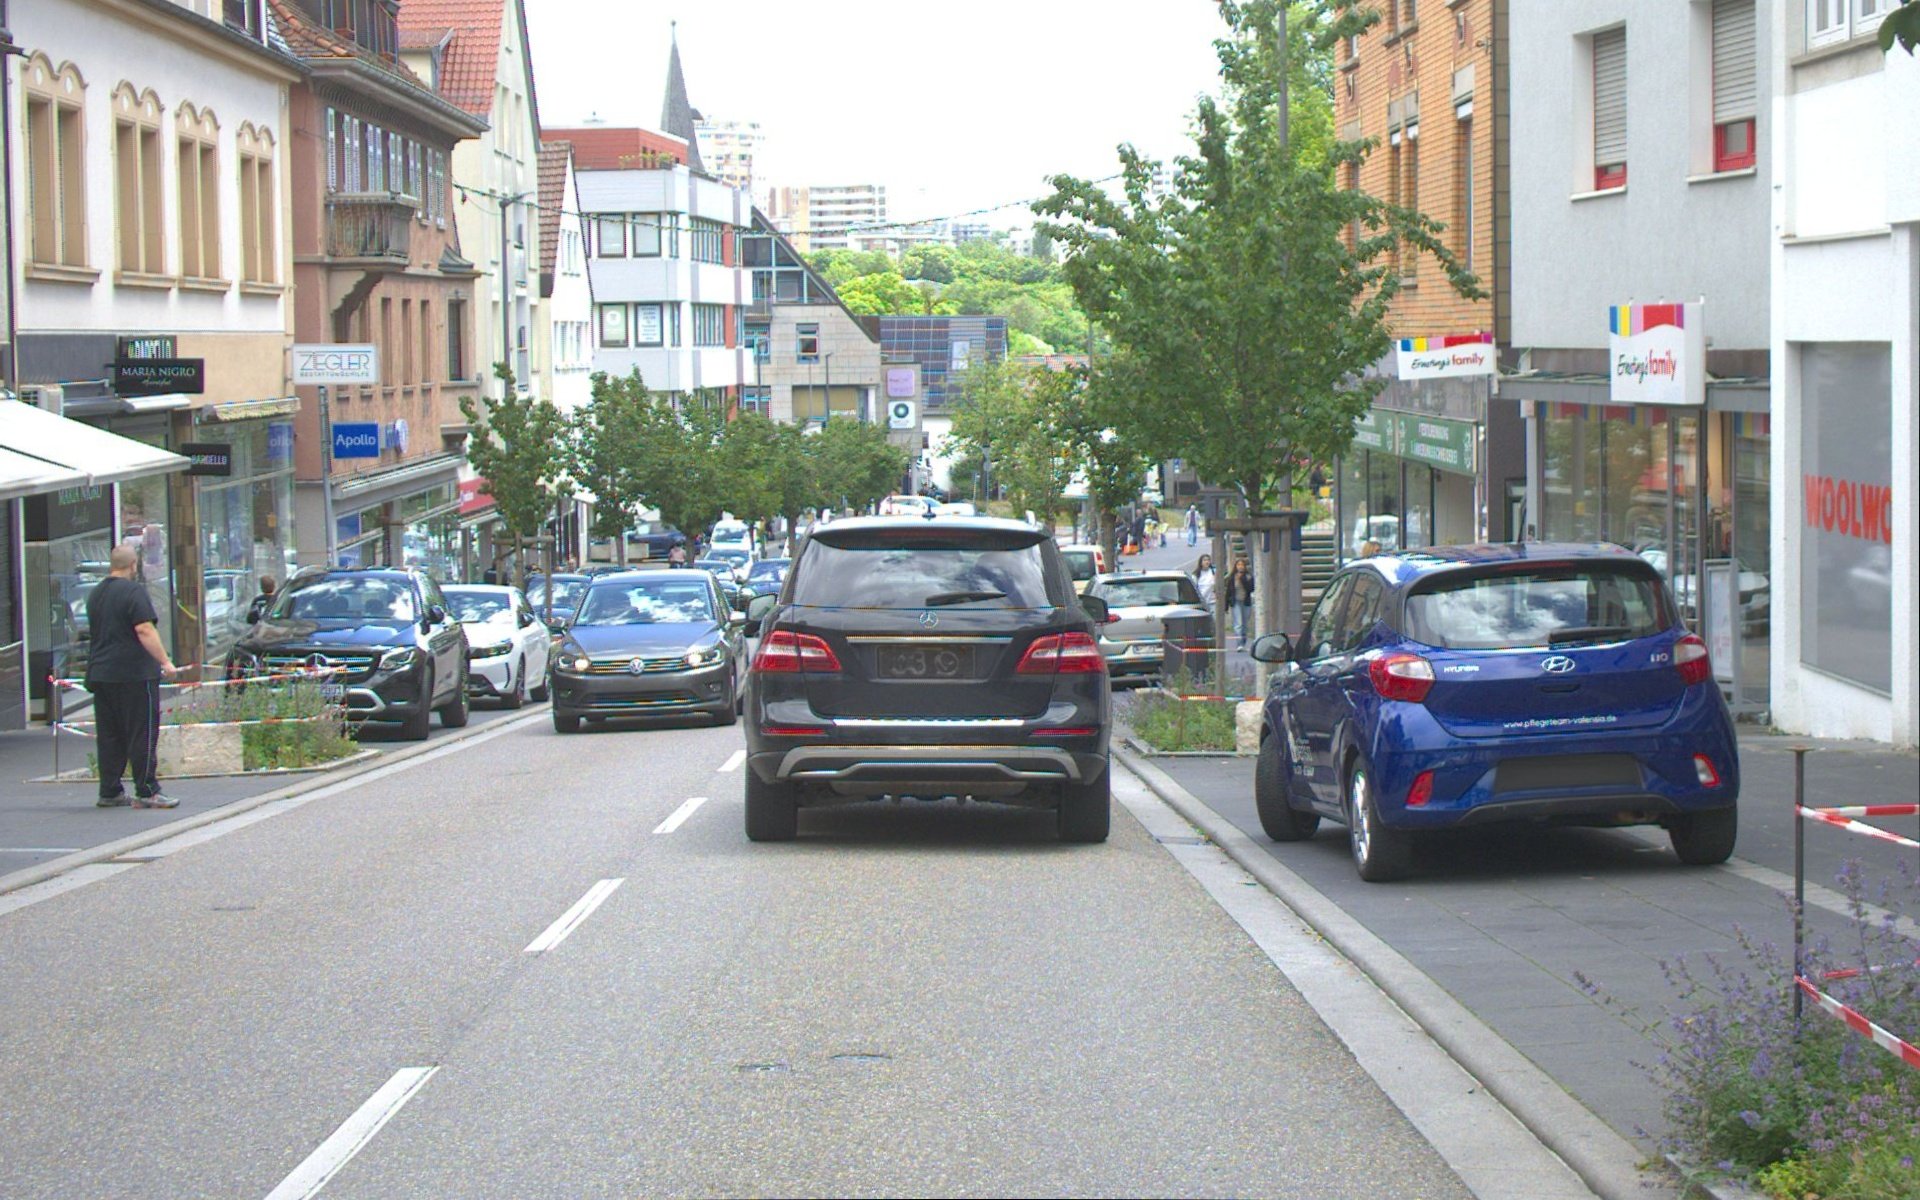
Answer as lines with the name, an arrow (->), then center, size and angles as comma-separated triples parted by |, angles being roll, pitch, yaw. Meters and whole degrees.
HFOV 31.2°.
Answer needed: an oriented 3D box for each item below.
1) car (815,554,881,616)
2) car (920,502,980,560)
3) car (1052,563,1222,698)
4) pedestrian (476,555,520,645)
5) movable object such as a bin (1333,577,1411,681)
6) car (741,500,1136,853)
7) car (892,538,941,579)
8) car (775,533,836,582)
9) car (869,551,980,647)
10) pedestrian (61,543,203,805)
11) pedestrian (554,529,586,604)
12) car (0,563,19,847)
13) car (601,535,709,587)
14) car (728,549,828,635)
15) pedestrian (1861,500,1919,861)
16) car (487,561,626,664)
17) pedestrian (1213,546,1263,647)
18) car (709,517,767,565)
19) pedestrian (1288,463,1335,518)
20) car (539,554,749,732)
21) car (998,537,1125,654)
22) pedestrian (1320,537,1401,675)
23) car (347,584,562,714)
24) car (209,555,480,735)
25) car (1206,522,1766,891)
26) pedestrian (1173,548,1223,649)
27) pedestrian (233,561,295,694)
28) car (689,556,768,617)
car -> -3.166, -0.449, 97.902 | 1.764, 1.611, 4.033 | -2, 1, -1
car -> -0.404, -3.013, 149.658 | 2.174, 2.356, 4.622 | -4, 1, 4
car -> 2.184, 0.342, 43.427 | 1.748, 1.460, 4.075 | -4, 1, -1
pedestrian -> -8.559, 0.003, 63.714 | 0.727, 1.662, 0.720 | 0, 1, -1
movable object such as a bin -> 4.769, 0.331, 39.849 | 0.721, 1.154, 0.907 | -3, 1, -1
car -> -0.115, 0.342, 19.204 | 1.943, 1.734, 4.179 | 1, 1, 0
car -> -1.680, -1.584, 131.122 | 1.812, 1.503, 4.000 | -1, 1, -1
car -> -5.362, -1.502, 119.700 | 1.926, 1.623, 4.262 | 2, 1, 0
car -> -0.648, -0.050, 63.357 | 1.926, 1.623, 4.262 | 2, 1, 0
pedestrian -> -5.367, 0.465, 22.328 | 0.737, 1.666, 0.863 | 0, 1, -3
pedestrian -> -8.612, -0.737, 75.948 | 0.641, 1.662, 0.720 | 0, 1, -1
car -> -5.989, 0.585, 16.379 | 1.926, 1.506, 4.262 | 1, 1, -2
car -> -11.512, -1.480, 130.006 | 3.986, 1.744, 2.000 | -3, 1, -4
car -> -4.005, -0.204, 76.234 | 1.992, 1.712, 4.447 | -4, 1, -2
pedestrian -> 4.486, 0.334, 15.162 | 0.756, 1.555, 0.818 | -1, 1, -3
car -> -6.380, 0.165, 54.767 | 1.926, 1.491, 4.263 | -1, 1, -3
pedestrian -> 4.615, -0.061, 57.006 | 0.671, 1.627, 0.670 | -3, 1, -3
car -> -7.904, -2.107, 122.656 | 1.926, 1.623, 4.415 | 2, 1, -2
pedestrian -> 7.940, -2.468, 77.679 | 0.990, 1.227, 0.983 | 0, 0, 1
car -> -3.134, 0.395, 34.775 | 1.819, 1.612, 4.136 | -3, 0, -2
car -> 1.753, -0.120, 60.807 | 1.938, 1.885, 4.707 | -3, 1, -1
pedestrian -> 4.744, 0.062, 40.756 | 0.735, 1.579, 1.000 | -3, 1, -1
car -> -5.998, 0.544, 41.265 | 1.926, 1.425, 4.262 | 0, 1, 0
car -> -5.920, 0.391, 33.585 | 1.926, 1.616, 4.640 | 1, 0, -2
car -> 2.414, 0.469, 16.743 | 1.748, 1.492, 3.800 | -3, 0, -5
pedestrian -> 3.934, -0.025, 56.813 | 0.671, 1.627, 0.670 | -3, 1, -3
pedestrian -> -8.485, 0.328, 41.922 | 0.547, 1.570, 0.863 | -2, 1, -1
car -> -6.406, -0.395, 95.414 | 1.926, 1.623, 4.262 | 0, 1, 0
